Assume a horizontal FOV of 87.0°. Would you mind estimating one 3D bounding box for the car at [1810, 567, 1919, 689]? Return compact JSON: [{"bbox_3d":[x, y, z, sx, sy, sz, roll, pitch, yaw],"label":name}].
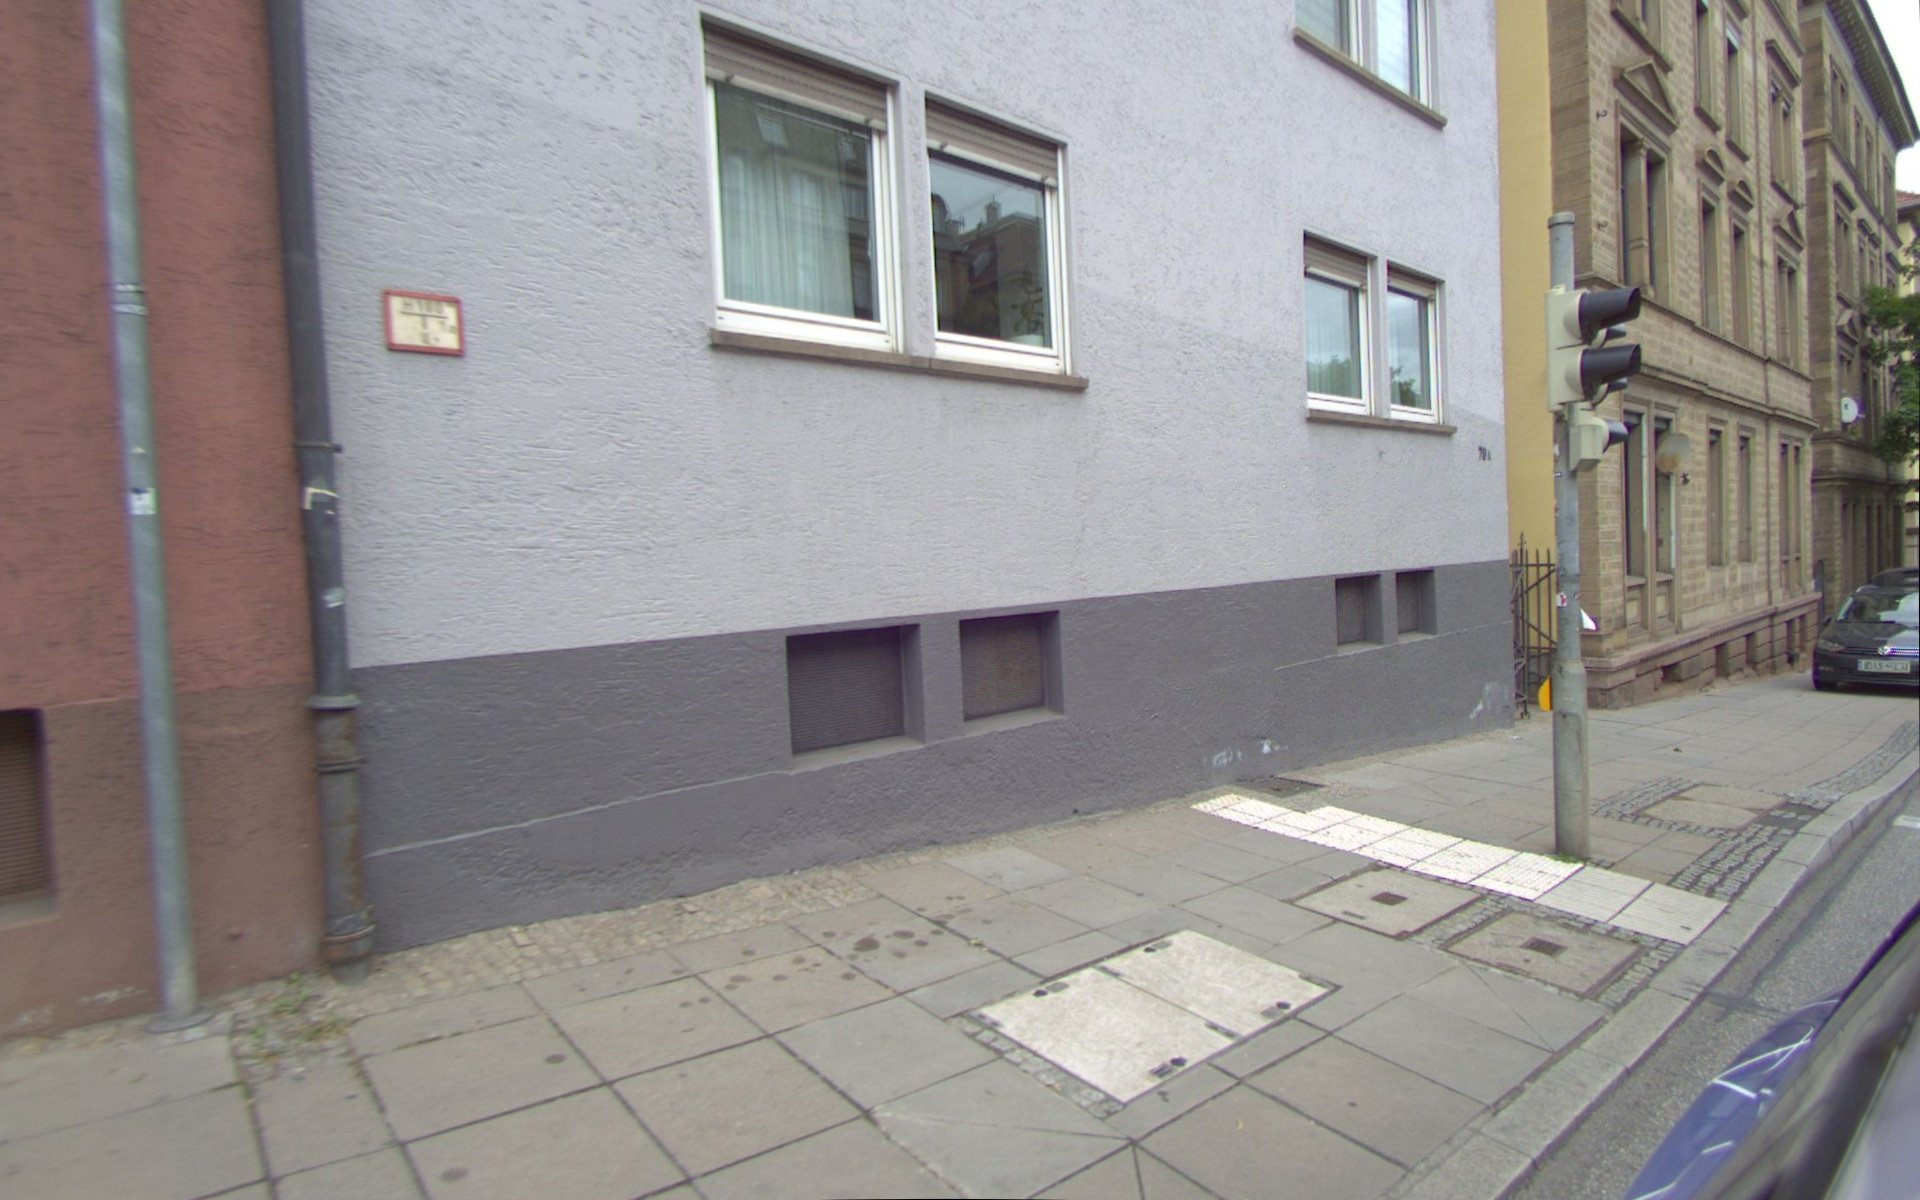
[{"bbox_3d":[15.011,0.391,15.868,4.231,1.733,1.862,0,1,-40],"label":"car"}]
